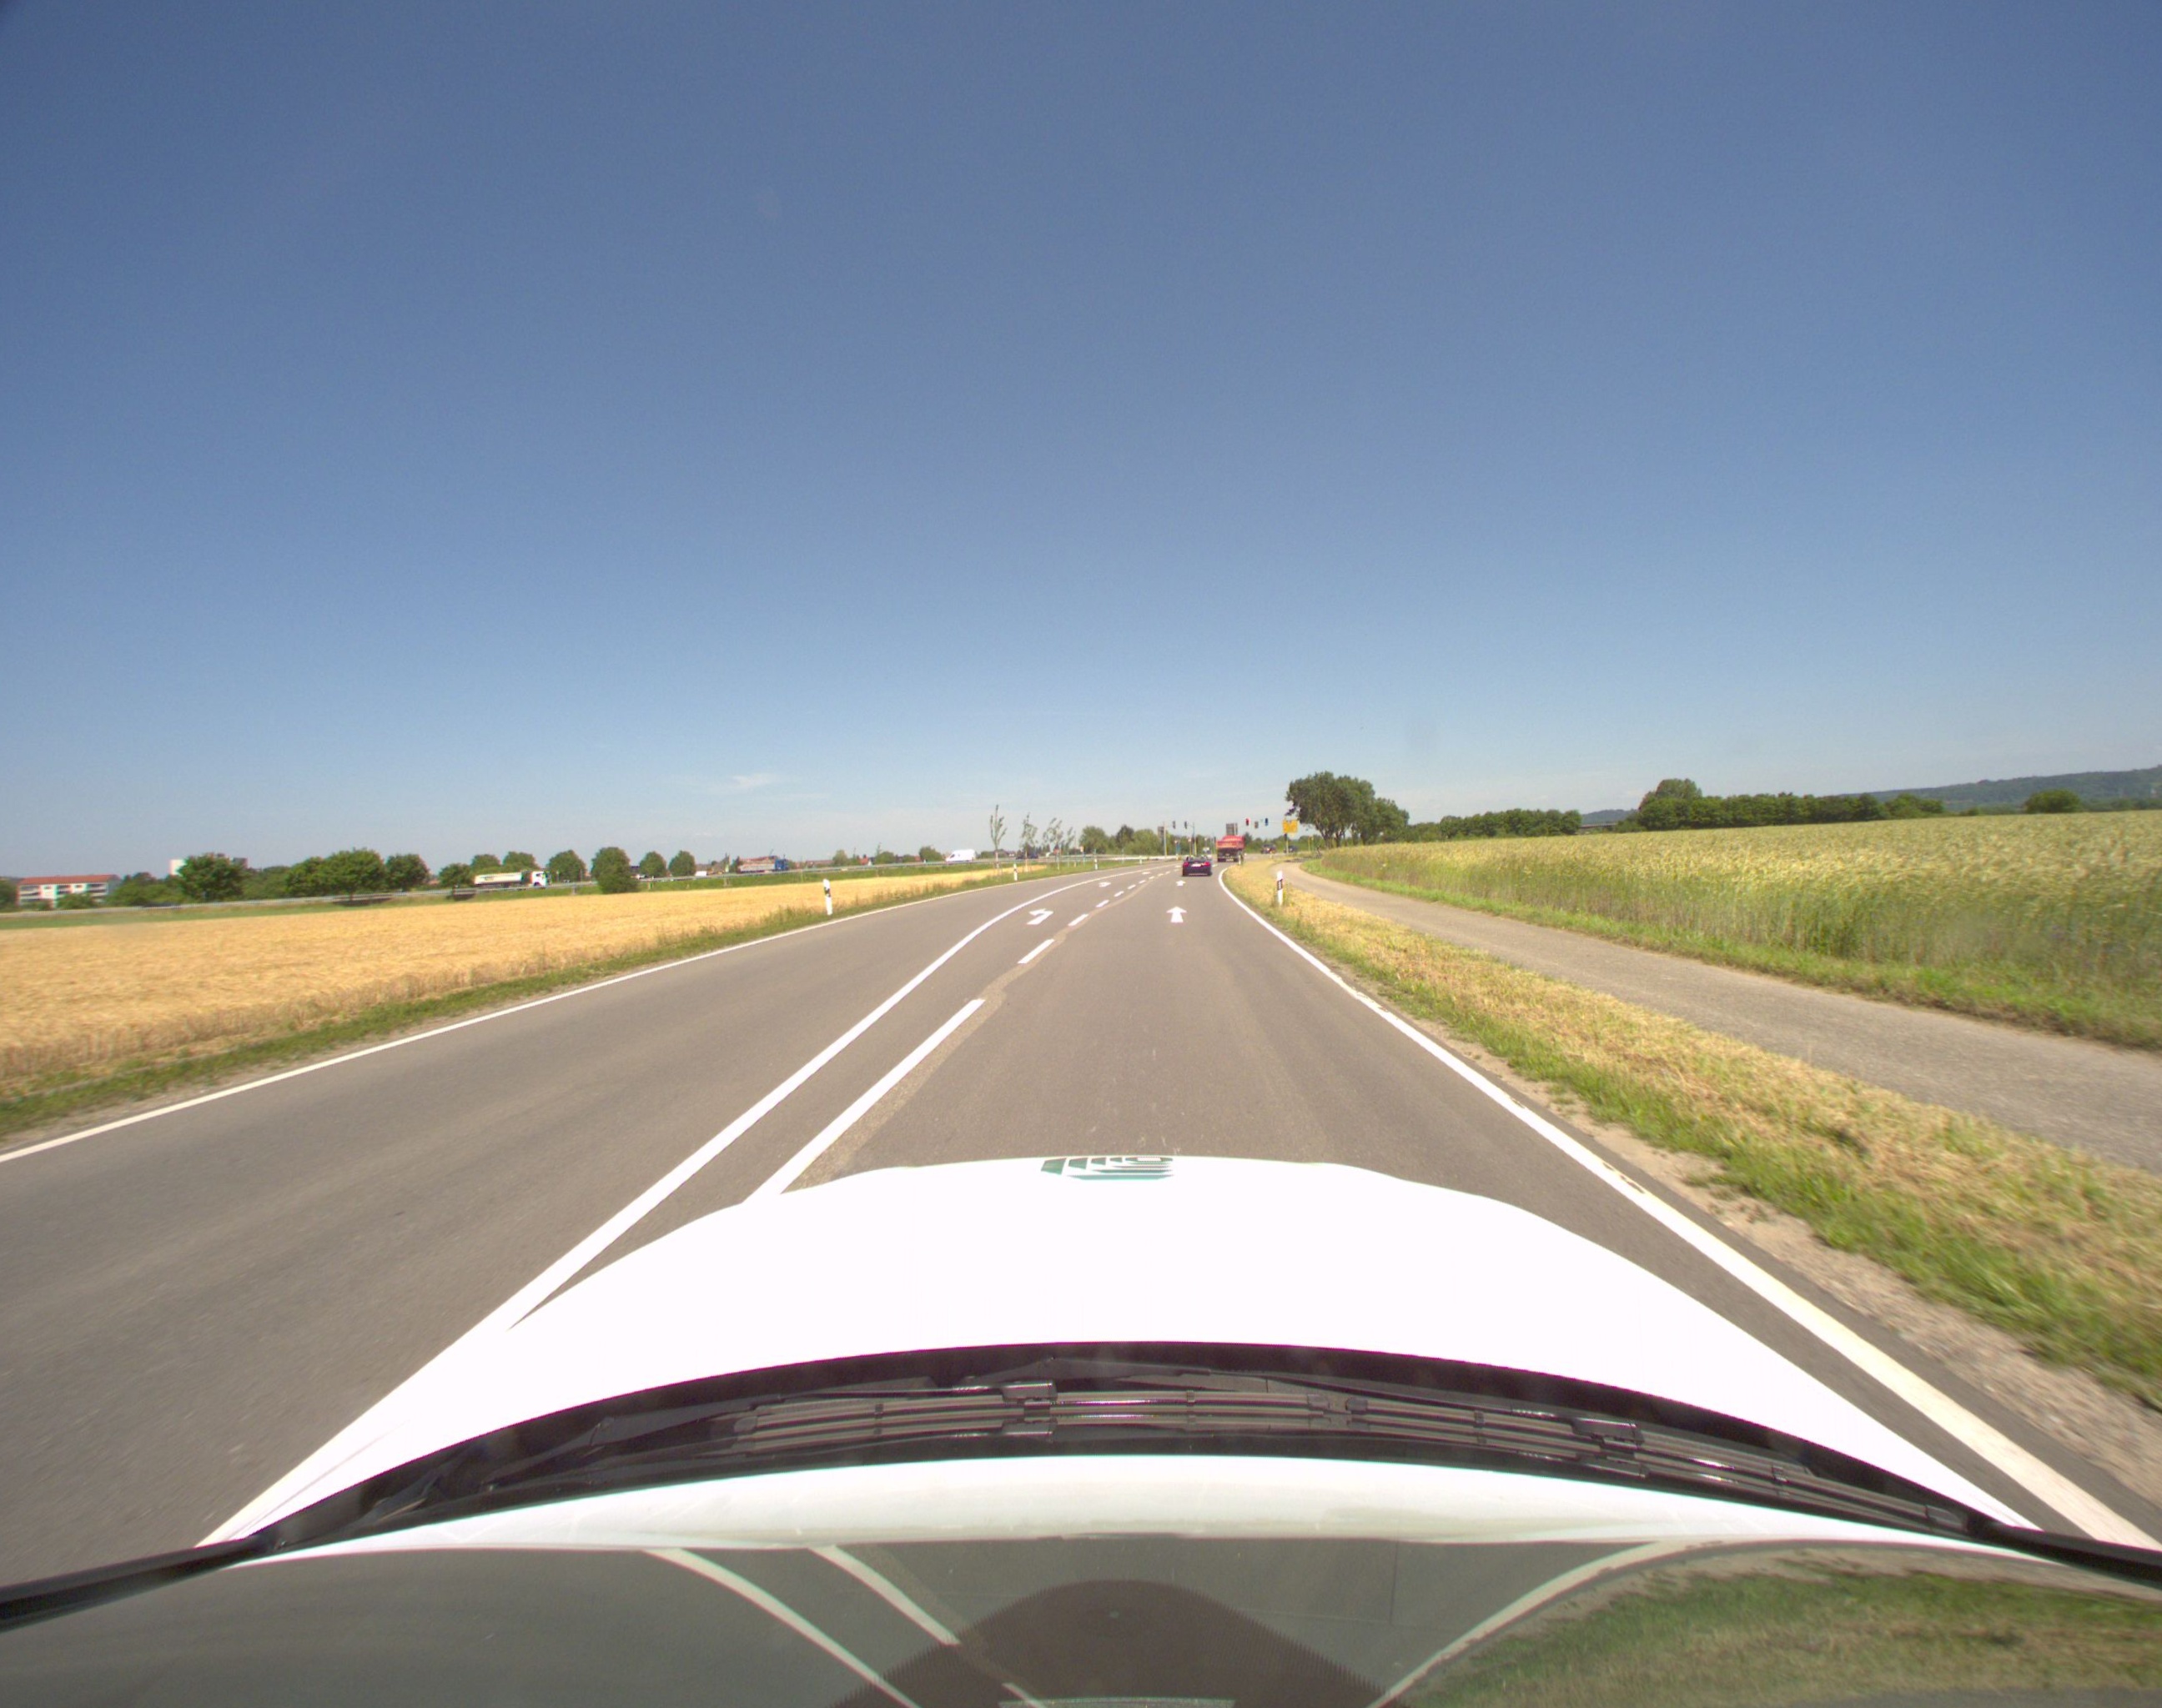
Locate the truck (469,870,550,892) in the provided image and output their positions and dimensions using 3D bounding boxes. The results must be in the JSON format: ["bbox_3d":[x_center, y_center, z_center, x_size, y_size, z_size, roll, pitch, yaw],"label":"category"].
[{"bbox_3d":[-105.703,5.001,150.808,12.002,3.614,2.969,-2,0,-13],"label":"truck"}]

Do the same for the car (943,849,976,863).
[{"bbox_3d":[-23.256,0.388,156.237,5.886,2.421,2.252,-2,0,7],"label":"car"}]

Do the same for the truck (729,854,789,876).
[{"bbox_3d":[-60.957,2.117,154.179,10.060,3.793,2.622,-2,0,-4],"label":"truck"}]

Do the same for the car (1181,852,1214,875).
[{"bbox_3d":[7.257,0.588,50.348,1.735,1.376,3.691,-1,-1,12],"label":"car"}]

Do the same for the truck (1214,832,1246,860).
[{"bbox_3d":[17.512,-0.817,95.504,2.693,3.053,8.200,-2,-1,17],"label":"truck"}]

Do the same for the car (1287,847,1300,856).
[{"bbox_3d":[45.380,-0.546,174.100,1.913,1.739,4.917,-2,0,24],"label":"car"}]
